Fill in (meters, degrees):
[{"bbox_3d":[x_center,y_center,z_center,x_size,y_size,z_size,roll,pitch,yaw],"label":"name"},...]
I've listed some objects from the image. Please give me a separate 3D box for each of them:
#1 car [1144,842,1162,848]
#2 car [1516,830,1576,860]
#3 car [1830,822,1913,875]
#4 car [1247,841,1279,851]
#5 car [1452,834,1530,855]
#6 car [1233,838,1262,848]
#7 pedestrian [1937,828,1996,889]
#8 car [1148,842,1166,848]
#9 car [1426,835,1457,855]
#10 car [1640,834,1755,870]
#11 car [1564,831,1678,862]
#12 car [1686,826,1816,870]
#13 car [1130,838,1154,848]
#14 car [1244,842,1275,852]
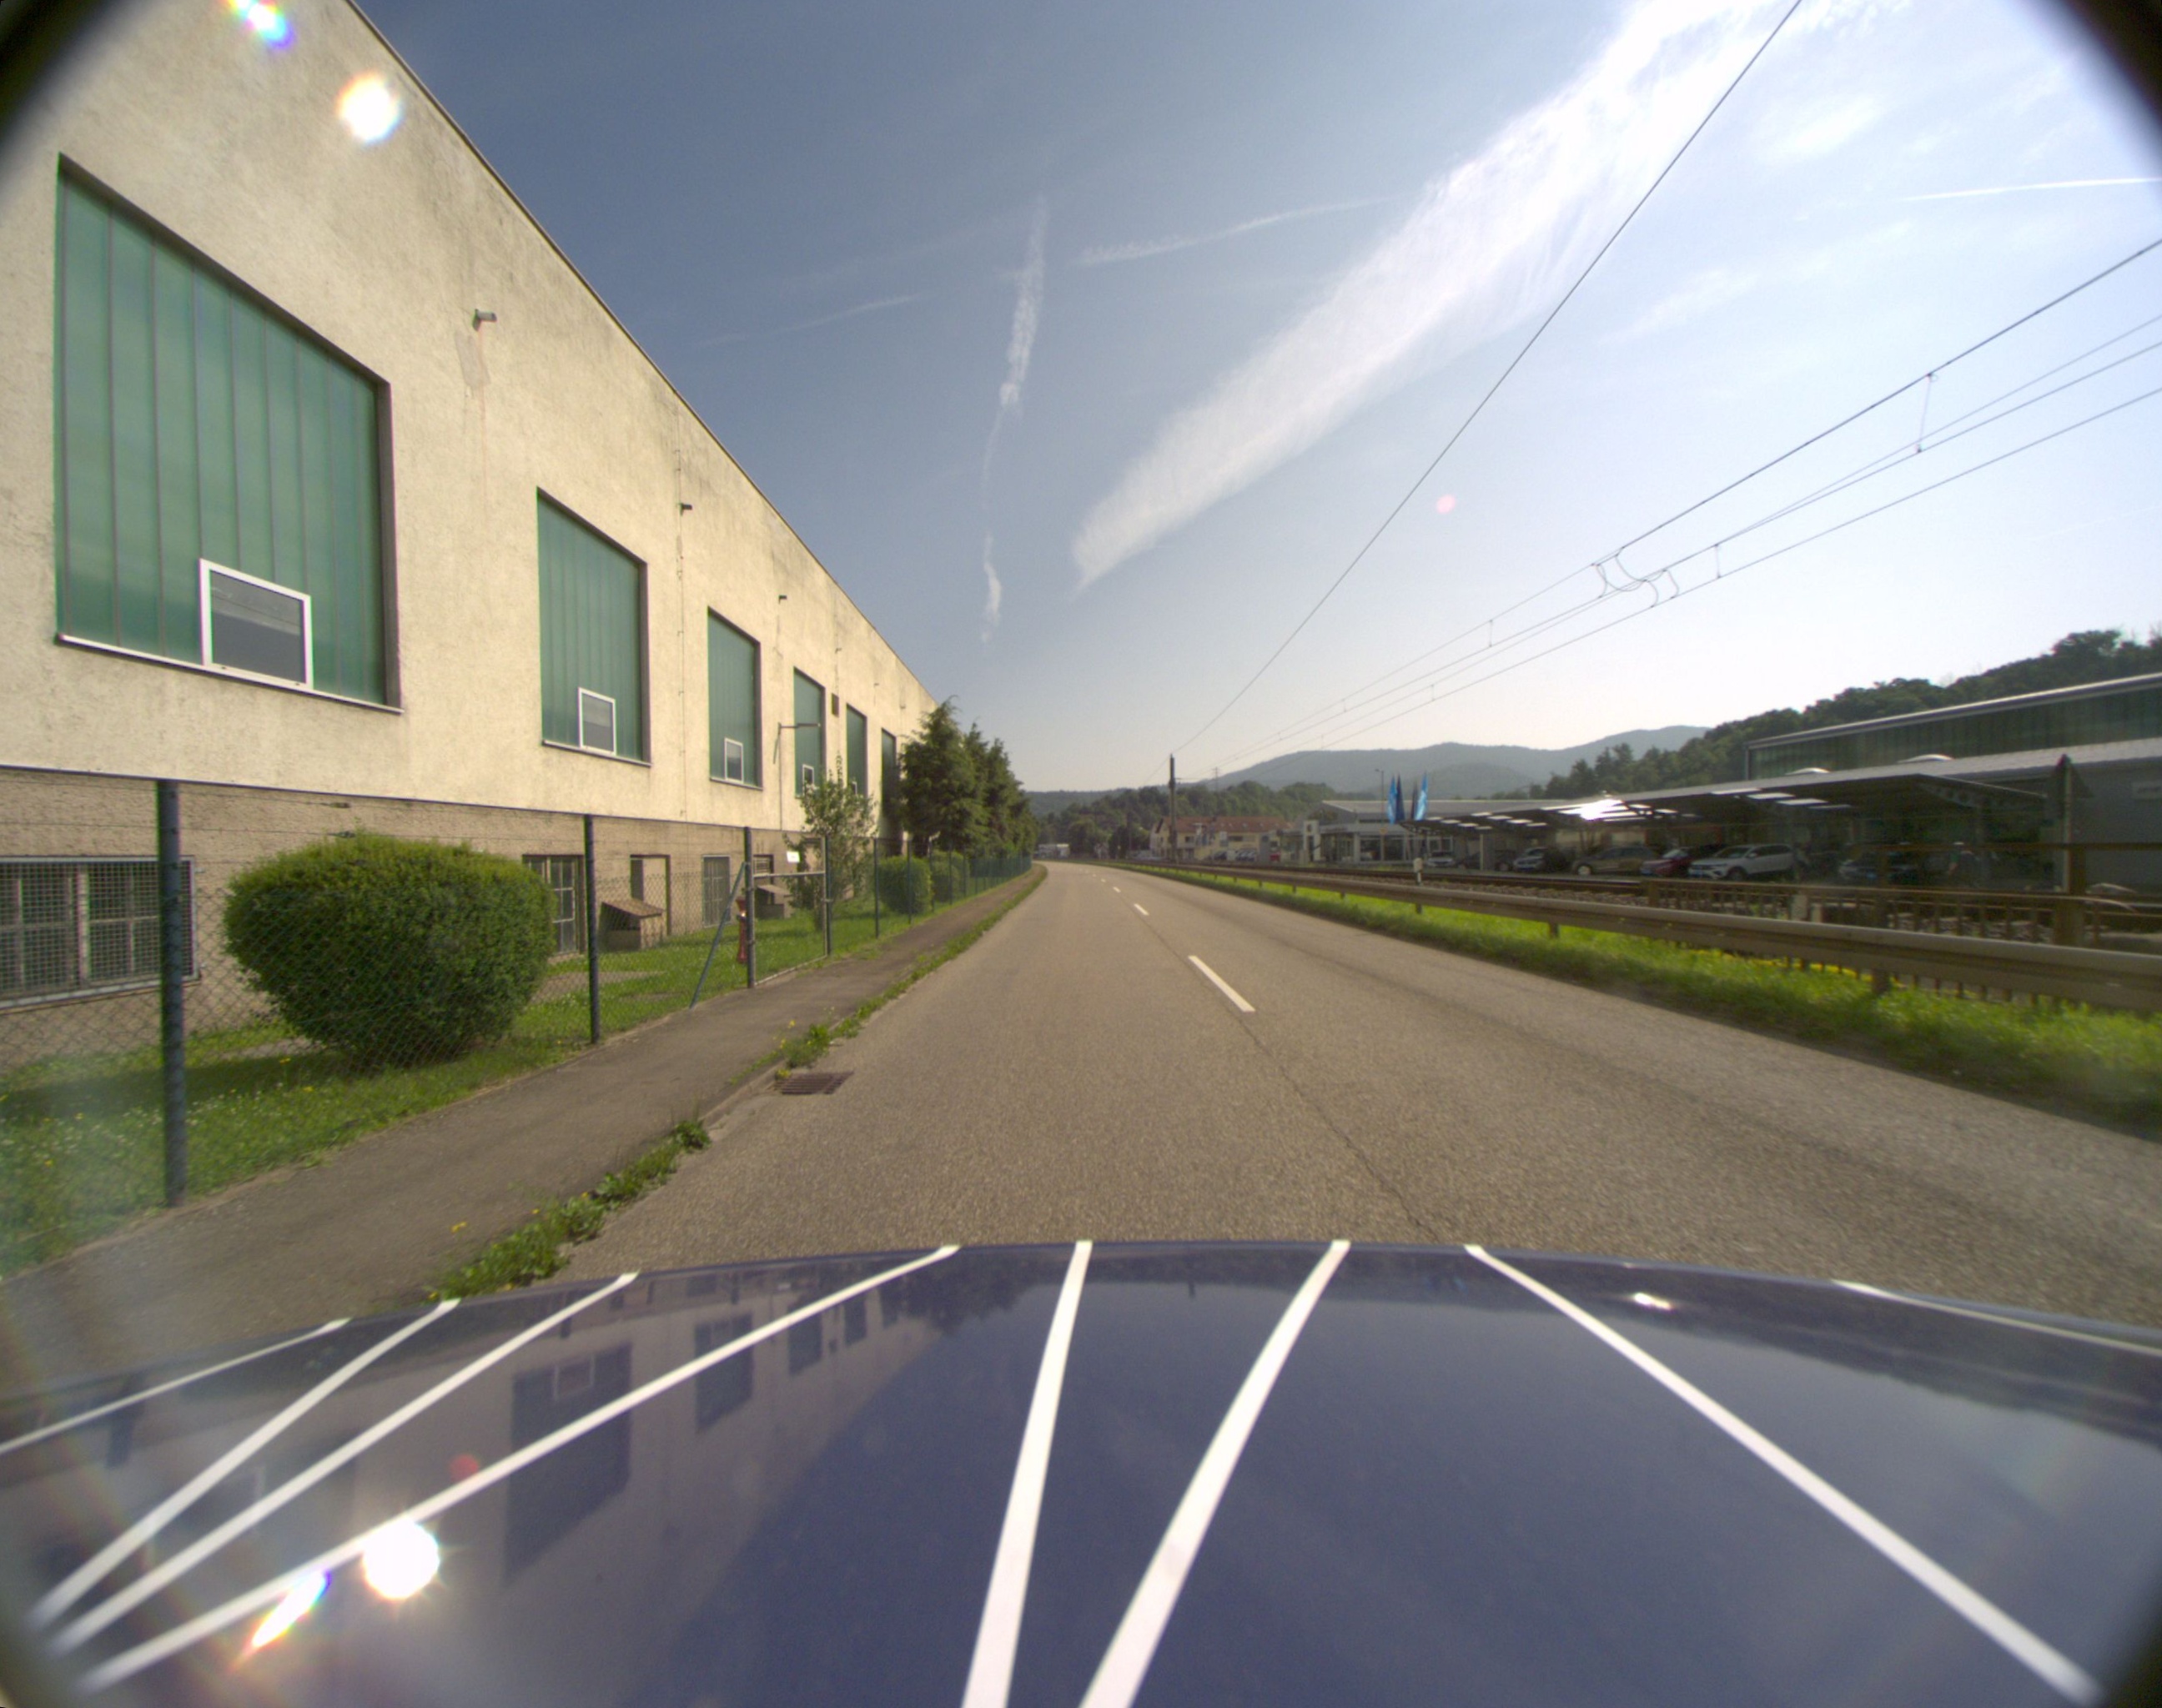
[{"bbox_3d":[16.489,-2.128,173.944,3.858,1.292,1.647,-1,1,-9],"label":"car"},{"bbox_3d":[27.812,-0.529,45.416,4.278,1.519,1.842,-4,1,-41],"label":"car"},{"bbox_3d":[27.756,-0.214,26.793,1.659,1.613,4.038,-3,1,42],"label":"car"},{"bbox_3d":[25.304,-1.116,105.638,4.000,1.367,1.859,-1,0,-9],"label":"car"},{"bbox_3d":[27.308,-0.596,50.730,1.851,1.334,4.196,-2,1,-43],"label":"car"},{"bbox_3d":[25.466,-1.635,116.520,3.998,1.451,1.760,0,0,-4],"label":"car"},{"bbox_3d":[25.451,0.122,21.841,0.805,1.724,0.834,-1,1,-15],"label":"pedestrian"},{"bbox_3d":[17.083,-2.132,171.289,3.858,1.292,1.647,-1,1,-9],"label":"car"},{"bbox_3d":[26.607,-0.676,56.029,1.842,1.377,4.531,-1,1,29],"label":"car"},{"bbox_3d":[27.546,-0.113,34.030,3.967,1.317,1.501,-4,1,-3],"label":"car"},{"bbox_3d":[27.595,-0.352,38.936,1.851,1.496,4.422,-2,1,-39],"label":"car"},{"bbox_3d":[27.599,-0.241,31.374,3.967,1.519,1.662,-4,1,-3],"label":"car"},{"bbox_3d":[15.371,-2.805,190.360,5.589,2.403,2.235,-1,1,-7],"label":"car"},{"bbox_3d":[25.919,-1.021,110.093,4.002,1.451,1.758,-1,0,-14],"label":"car"}]
